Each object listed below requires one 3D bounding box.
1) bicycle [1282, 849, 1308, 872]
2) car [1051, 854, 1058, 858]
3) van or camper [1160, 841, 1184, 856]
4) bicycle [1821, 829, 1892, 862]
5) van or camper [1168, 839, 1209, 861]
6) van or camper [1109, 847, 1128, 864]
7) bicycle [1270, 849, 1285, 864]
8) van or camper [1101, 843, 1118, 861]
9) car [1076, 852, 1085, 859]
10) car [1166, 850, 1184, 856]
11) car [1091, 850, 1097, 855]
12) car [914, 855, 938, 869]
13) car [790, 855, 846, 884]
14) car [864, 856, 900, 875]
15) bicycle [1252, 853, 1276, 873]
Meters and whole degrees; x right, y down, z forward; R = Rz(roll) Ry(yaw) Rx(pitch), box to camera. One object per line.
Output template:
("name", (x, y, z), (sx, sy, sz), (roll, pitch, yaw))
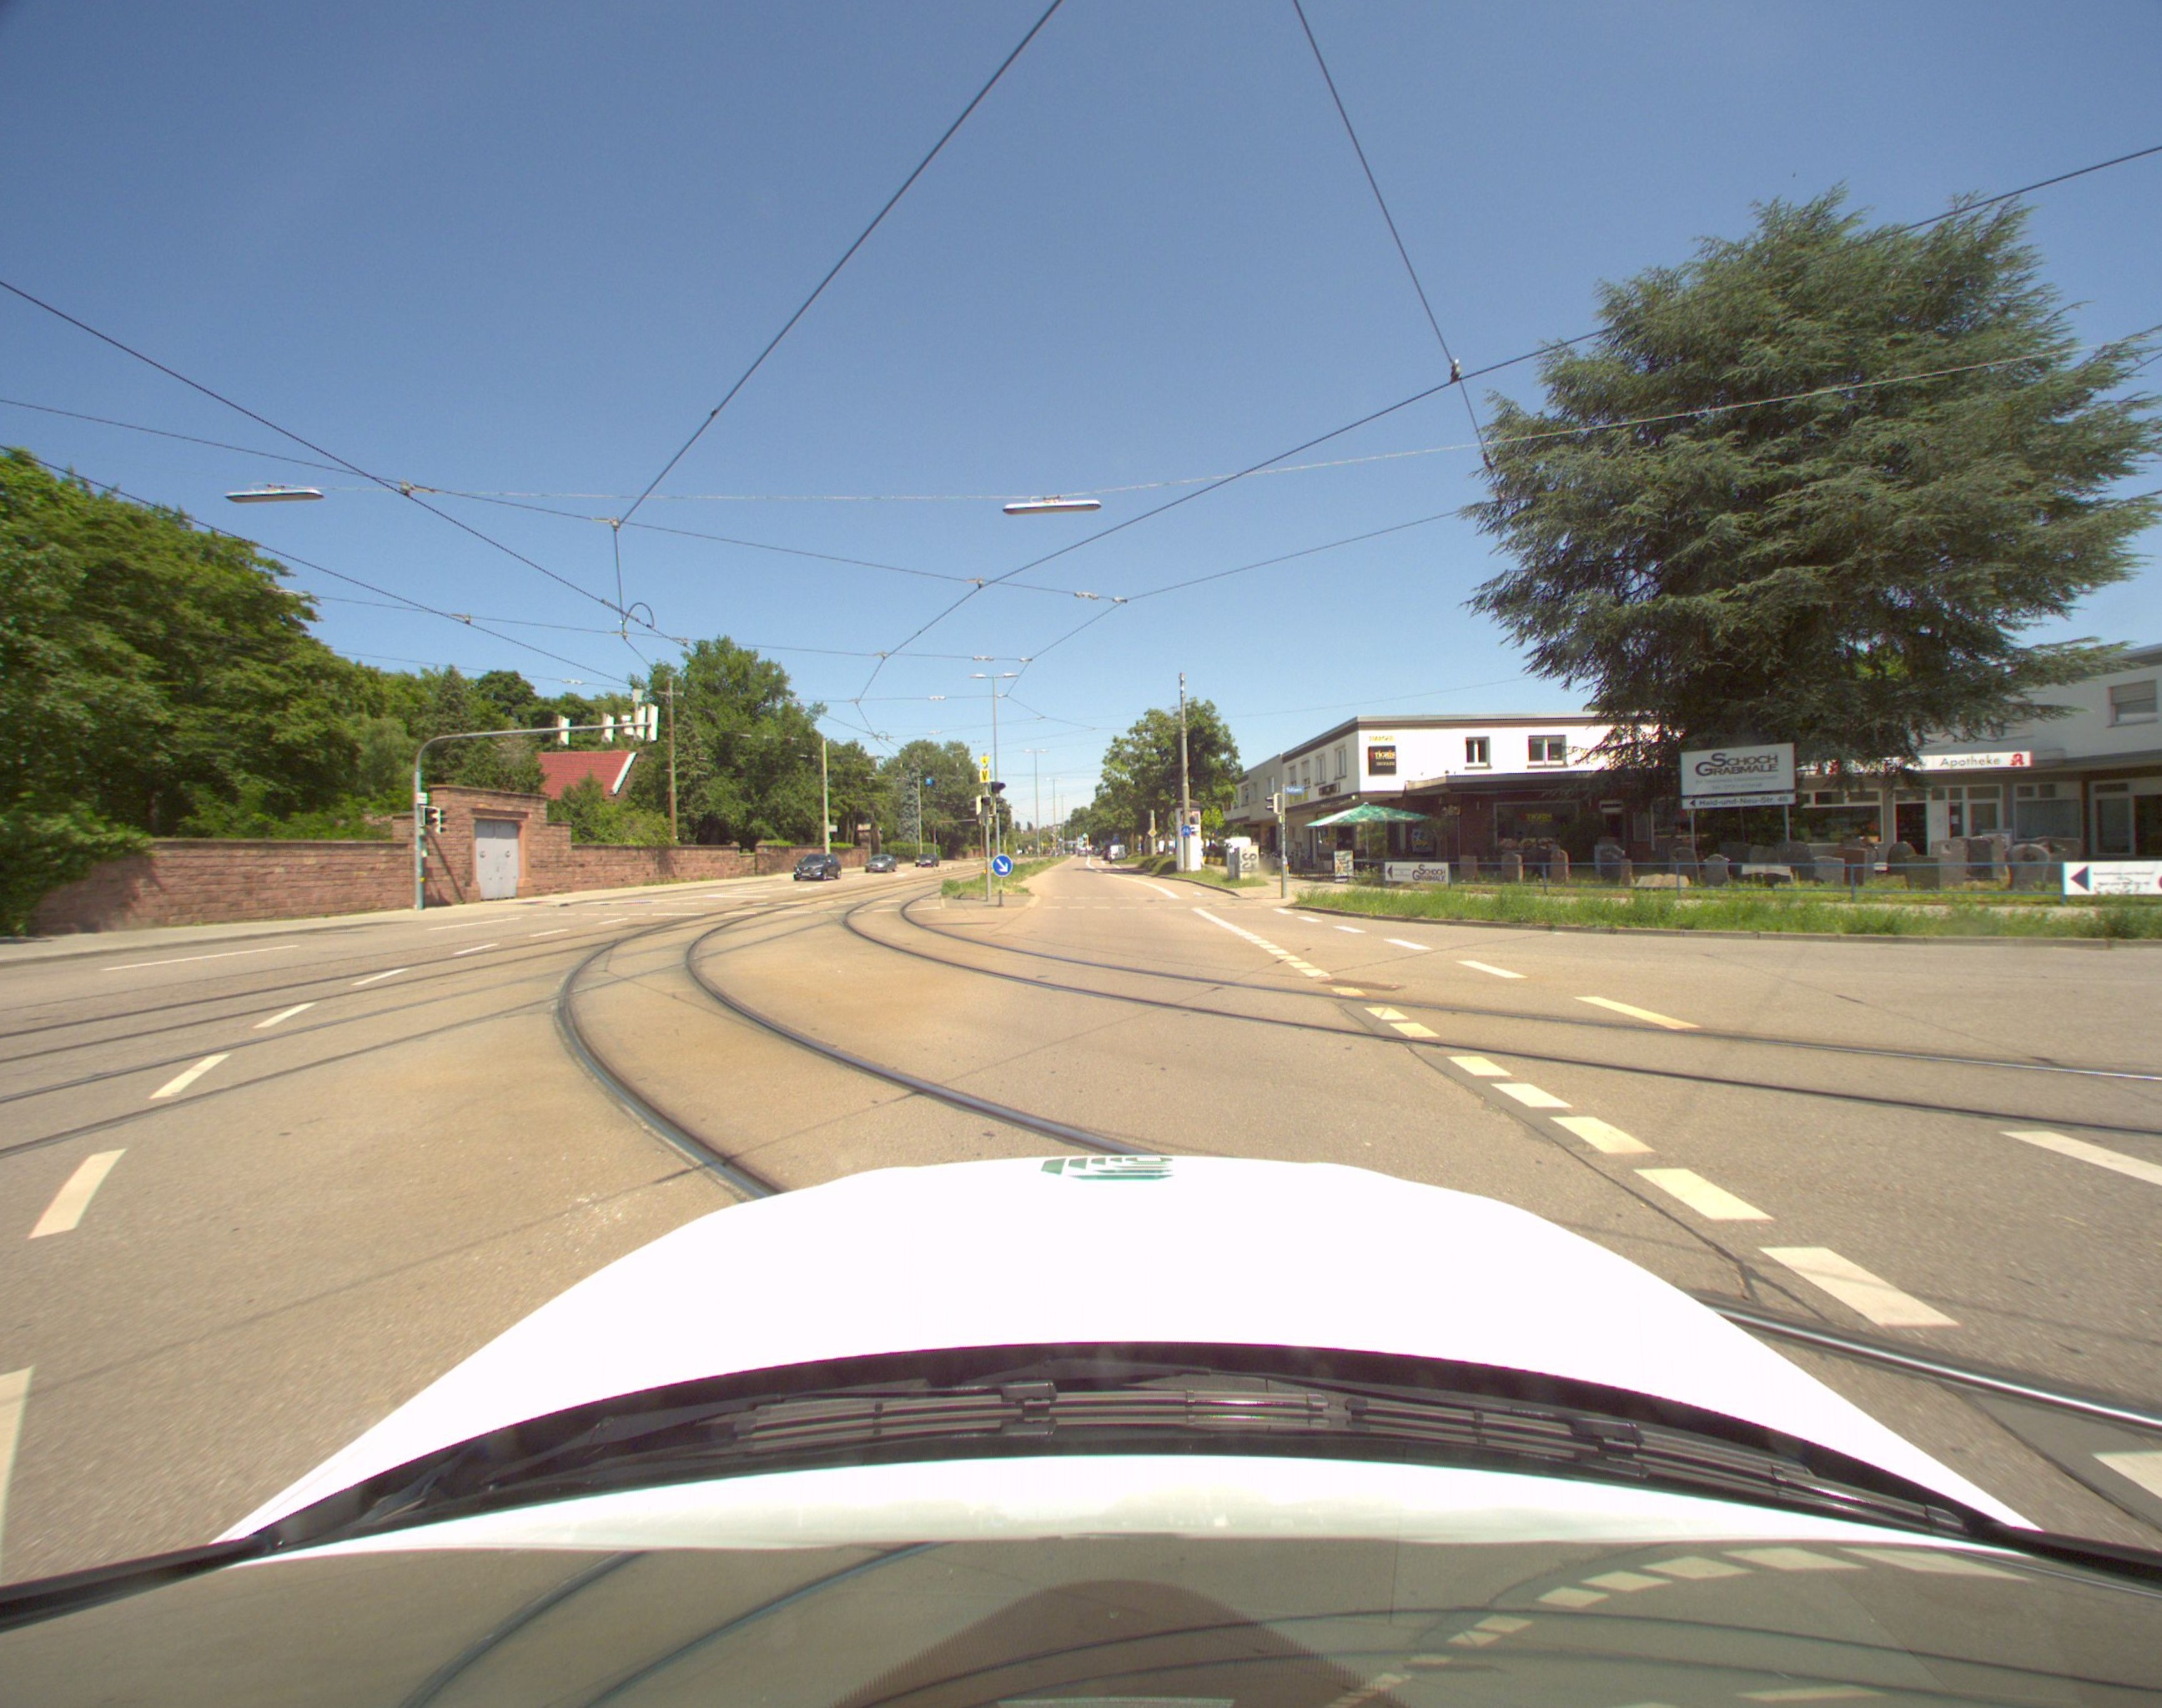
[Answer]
("bicycle", (11.365, 0.340, 43.314), (0.983, 1.164, 2.643), (-1, 0, 8))
("car", (-6.010, 0.448, 187.030), (1.487, 1.046, 3.579), (-1, 0, 0))
("van or camper", (14.220, -0.838, 126.873), (3.547, 2.145, 1.602), (-1, 0, -2))
("bicycle", (28.393, -0.301, 29.829), (1.859, 1.192, 0.600), (0, -1, 11))
("van or camper", (13.504, -0.539, 102.485), (4.743, 2.671, 2.135), (-1, 0, -2))
("van or camper", (4.099, 0.151, 89.489), (1.915, 1.772, 4.001), (-1, 0, 1))
("bicycle", (13.827, 0.175, 57.329), (0.505, 1.065, 1.862), (1, -1, -3))
("van or camper", (3.858, -0.278, 111.905), (1.988, 2.464, 3.997), (-1, 0, -2))
("car", (-0.116, 0.264, 159.784), (1.632, 1.351, 3.839), (-1, 0, -2))
("car", (14.228, -0.152, 123.480), (2.578, 0.962, 1.149), (-1, 0, 1))
("car", (3.551, -0.433, 224.078), (1.520, 1.296, 3.490), (-1, 0, -2))
("car", (-15.745, 0.786, 82.734), (1.636, 1.399, 4.115), (0, 0, 0))
("car", (-16.009, 0.919, 49.871), (1.813, 1.603, 4.522), (-1, 1, 2))
("car", (-15.843, 0.899, 64.989), (1.634, 1.421, 4.171), (0, 0, 3))
("bicycle", (9.706, 0.461, 43.340), (1.028, 1.014, 2.643), (-1, 0, 8))
